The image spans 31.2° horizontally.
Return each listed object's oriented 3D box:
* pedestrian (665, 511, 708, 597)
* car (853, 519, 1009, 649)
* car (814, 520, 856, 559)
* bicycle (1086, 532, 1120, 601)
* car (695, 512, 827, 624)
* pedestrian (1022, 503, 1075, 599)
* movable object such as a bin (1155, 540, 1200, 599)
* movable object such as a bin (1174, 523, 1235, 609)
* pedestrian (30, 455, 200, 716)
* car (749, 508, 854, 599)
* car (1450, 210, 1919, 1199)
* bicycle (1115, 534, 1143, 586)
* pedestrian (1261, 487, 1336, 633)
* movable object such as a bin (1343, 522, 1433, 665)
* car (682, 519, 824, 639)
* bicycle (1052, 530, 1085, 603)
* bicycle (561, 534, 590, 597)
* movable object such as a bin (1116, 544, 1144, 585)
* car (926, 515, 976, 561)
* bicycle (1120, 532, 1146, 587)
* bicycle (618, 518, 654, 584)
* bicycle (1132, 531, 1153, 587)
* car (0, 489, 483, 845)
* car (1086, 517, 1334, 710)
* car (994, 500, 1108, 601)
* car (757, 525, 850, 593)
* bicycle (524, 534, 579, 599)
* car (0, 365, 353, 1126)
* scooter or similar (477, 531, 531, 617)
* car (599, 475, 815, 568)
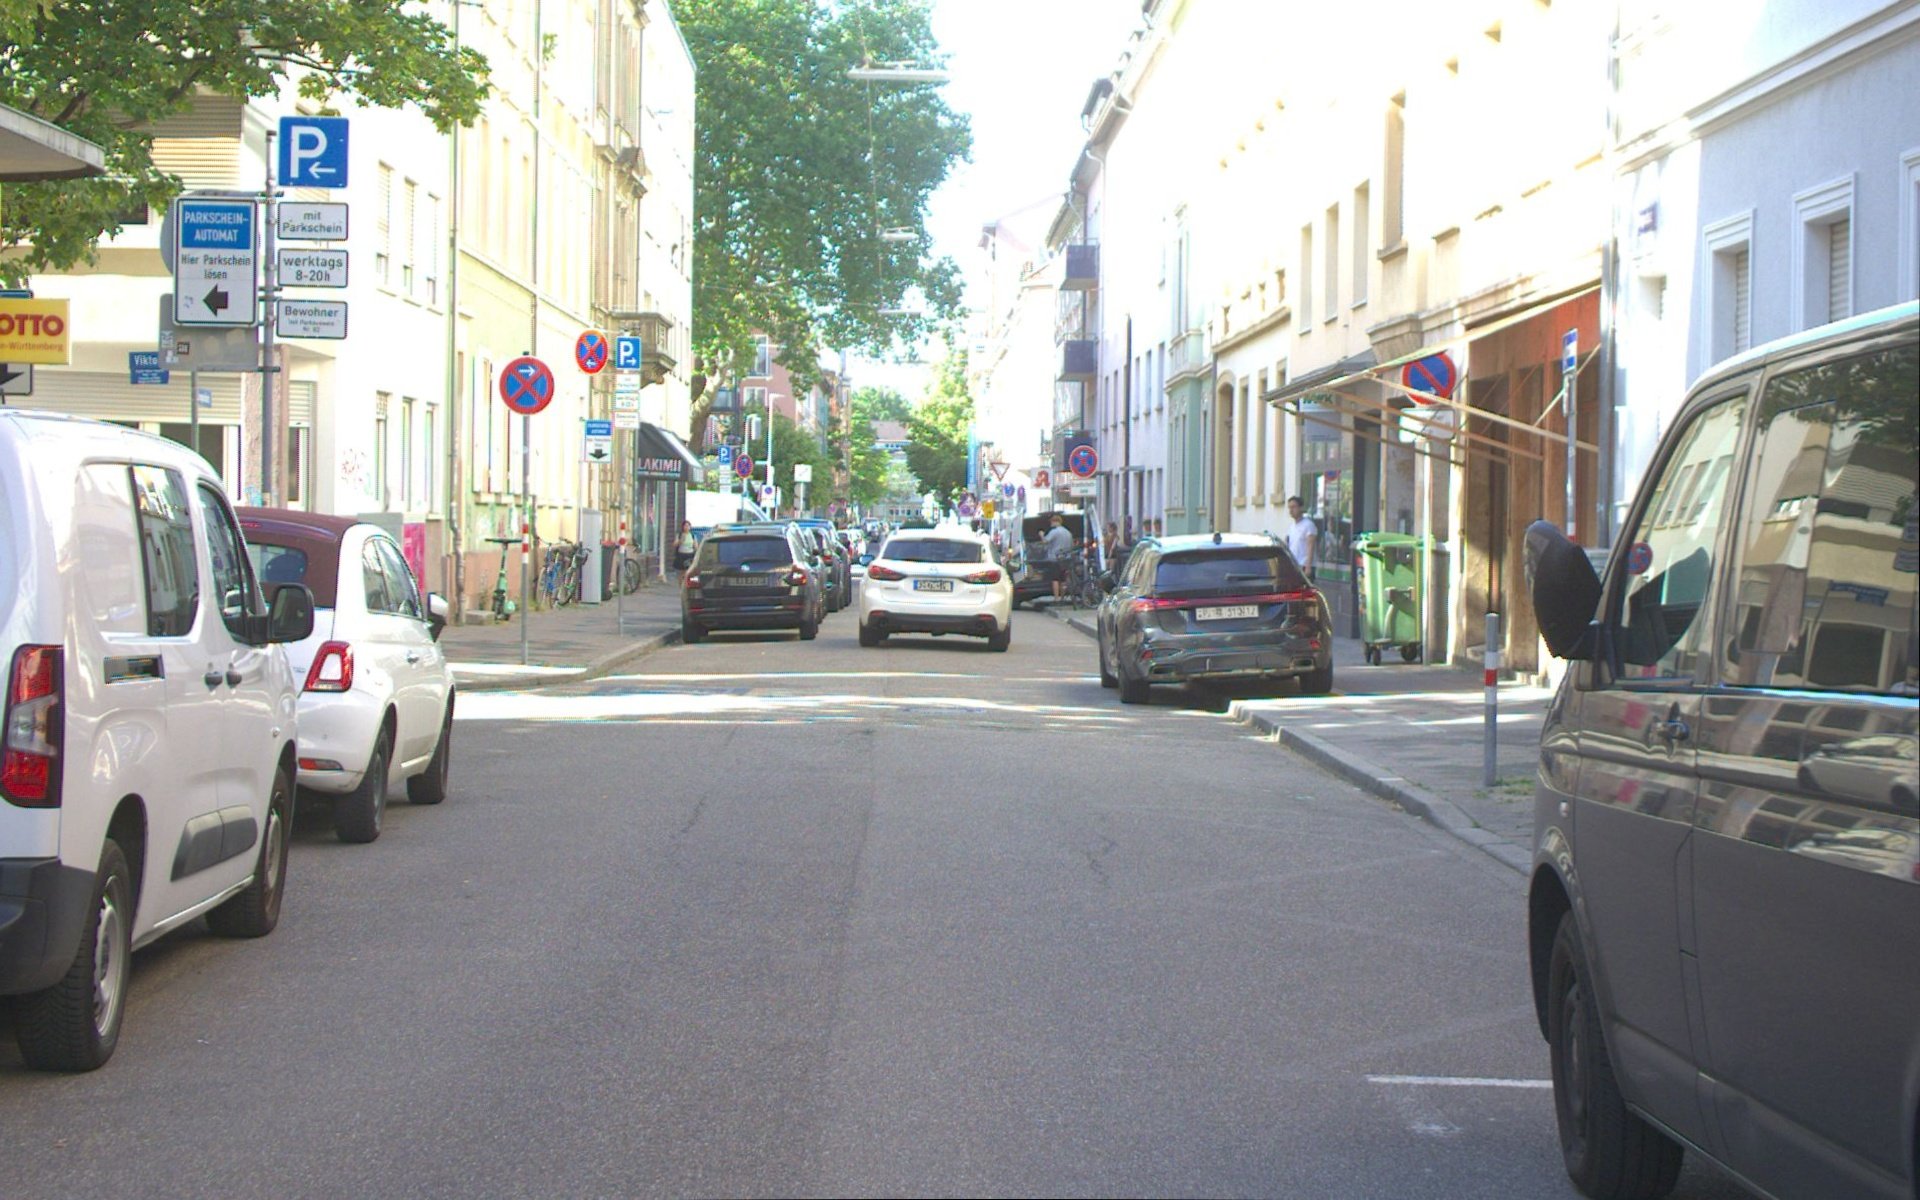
[{"bbox_3d":[-5.527,-0.936,69.577,0.764,1.708,0.883,2,2,-2],"label":"pedestrian"},{"bbox_3d":[-0.398,-0.230,42.576,1.823,1.509,3.824,1,1,-2],"label":"car"},{"bbox_3d":[-5.432,-2.634,149.295,1.769,1.583,3.726,1,2,-1],"label":"car"},{"bbox_3d":[2.674,-0.636,64.222,0.575,1.266,2.199,-1,1,3],"label":"bicycle"},{"bbox_3d":[-2.984,-0.526,52.409,1.744,1.609,4.603,0,2,0],"label":"car"},{"bbox_3d":[1.719,-0.941,66.603,0.880,1.830,0.869,1,0,-7],"label":"pedestrian"},{"bbox_3d":[4.045,-0.569,64.086,0.797,1.092,0.642,1,0,1],"label":"movable object such as a bin"},{"bbox_3d":[4.082,-0.555,57.490,0.837,1.385,1.297,-2,-1,-2],"label":"movable object such as a bin"},{"bbox_3d":[-6.078,-0.109,24.790,0.910,1.826,1.245,1,0,-1],"label":"pedestrian"},{"bbox_3d":[-3.116,-0.946,68.487,1.936,1.730,5.142,0,1,-1],"label":"car"},{"bbox_3d":[2.357,0.434,6.374,1.969,2.022,4.900,2,1,-2],"label":"car"},{"bbox_3d":[3.840,-0.912,78.007,0.568,1.149,1.868,1,1,4],"label":"bicycle"},{"bbox_3d":[4.367,-0.520,44.334,0.648,1.853,0.749,-2,2,-22],"label":"pedestrian"},{"bbox_3d":[4.433,-0.081,35.683,0.746,1.431,1.372,-2,1,1],"label":"movable object such as a bin"},{"bbox_3d":[-2.757,-0.318,46.554,1.713,1.483,4.853,-2,1,-1],"label":"car"},{"bbox_3d":[2.025,-0.637,63.895,0.575,1.316,2.199,0,1,3],"label":"bicycle"},{"bbox_3d":[-6.538,-0.586,58.536,0.402,1.052,1.837,1,1,-4],"label":"bicycle"},{"bbox_3d":[3.920,-0.823,79.278,0.577,0.921,0.607,-2,1,-1],"label":"movable object such as a bin"},{"bbox_3d":[-0.408,-2.769,152.547,1.942,1.941,4.079,2,1,-3],"label":"car"},{"bbox_3d":[3.869,-0.910,76.918,0.438,1.202,2.265,1,1,6],"label":"bicycle"},{"bbox_3d":[-6.455,-0.972,68.479,0.510,1.272,1.867,1,1,1],"label":"bicycle"},{"bbox_3d":[4.010,-0.894,75.583,0.405,1.202,2.159,1,1,2],"label":"bicycle"},{"bbox_3d":[-3.469,0.257,17.066,1.667,1.555,3.722,1,1,0],"label":"car"},{"bbox_3d":[2.200,0.062,31.458,1.801,1.573,4.898,2,1,-1],"label":"car"},{"bbox_3d":[1.803,-1.029,69.850,1.983,1.877,5.600,-3,1,-1],"label":"car"},{"bbox_3d":[-3.355,-0.888,74.286,1.845,1.412,4.818,-1,1,-1],"label":"car"},{"bbox_3d":[-6.546,-0.535,55.186,0.361,1.025,1.916,1,1,9],"label":"bicycle"},{"bbox_3d":[-3.170,0.310,10.923,1.766,1.892,4.810,-1,2,-2],"label":"car"},{"bbox_3d":[-6.388,-0.367,48.194,0.454,1.177,1.691,1,1,2],"label":"scooter or similar"},{"bbox_3d":[-8.257,-2.570,112.507,6.739,2.546,2.146,4,0,1],"label":"car"}]
